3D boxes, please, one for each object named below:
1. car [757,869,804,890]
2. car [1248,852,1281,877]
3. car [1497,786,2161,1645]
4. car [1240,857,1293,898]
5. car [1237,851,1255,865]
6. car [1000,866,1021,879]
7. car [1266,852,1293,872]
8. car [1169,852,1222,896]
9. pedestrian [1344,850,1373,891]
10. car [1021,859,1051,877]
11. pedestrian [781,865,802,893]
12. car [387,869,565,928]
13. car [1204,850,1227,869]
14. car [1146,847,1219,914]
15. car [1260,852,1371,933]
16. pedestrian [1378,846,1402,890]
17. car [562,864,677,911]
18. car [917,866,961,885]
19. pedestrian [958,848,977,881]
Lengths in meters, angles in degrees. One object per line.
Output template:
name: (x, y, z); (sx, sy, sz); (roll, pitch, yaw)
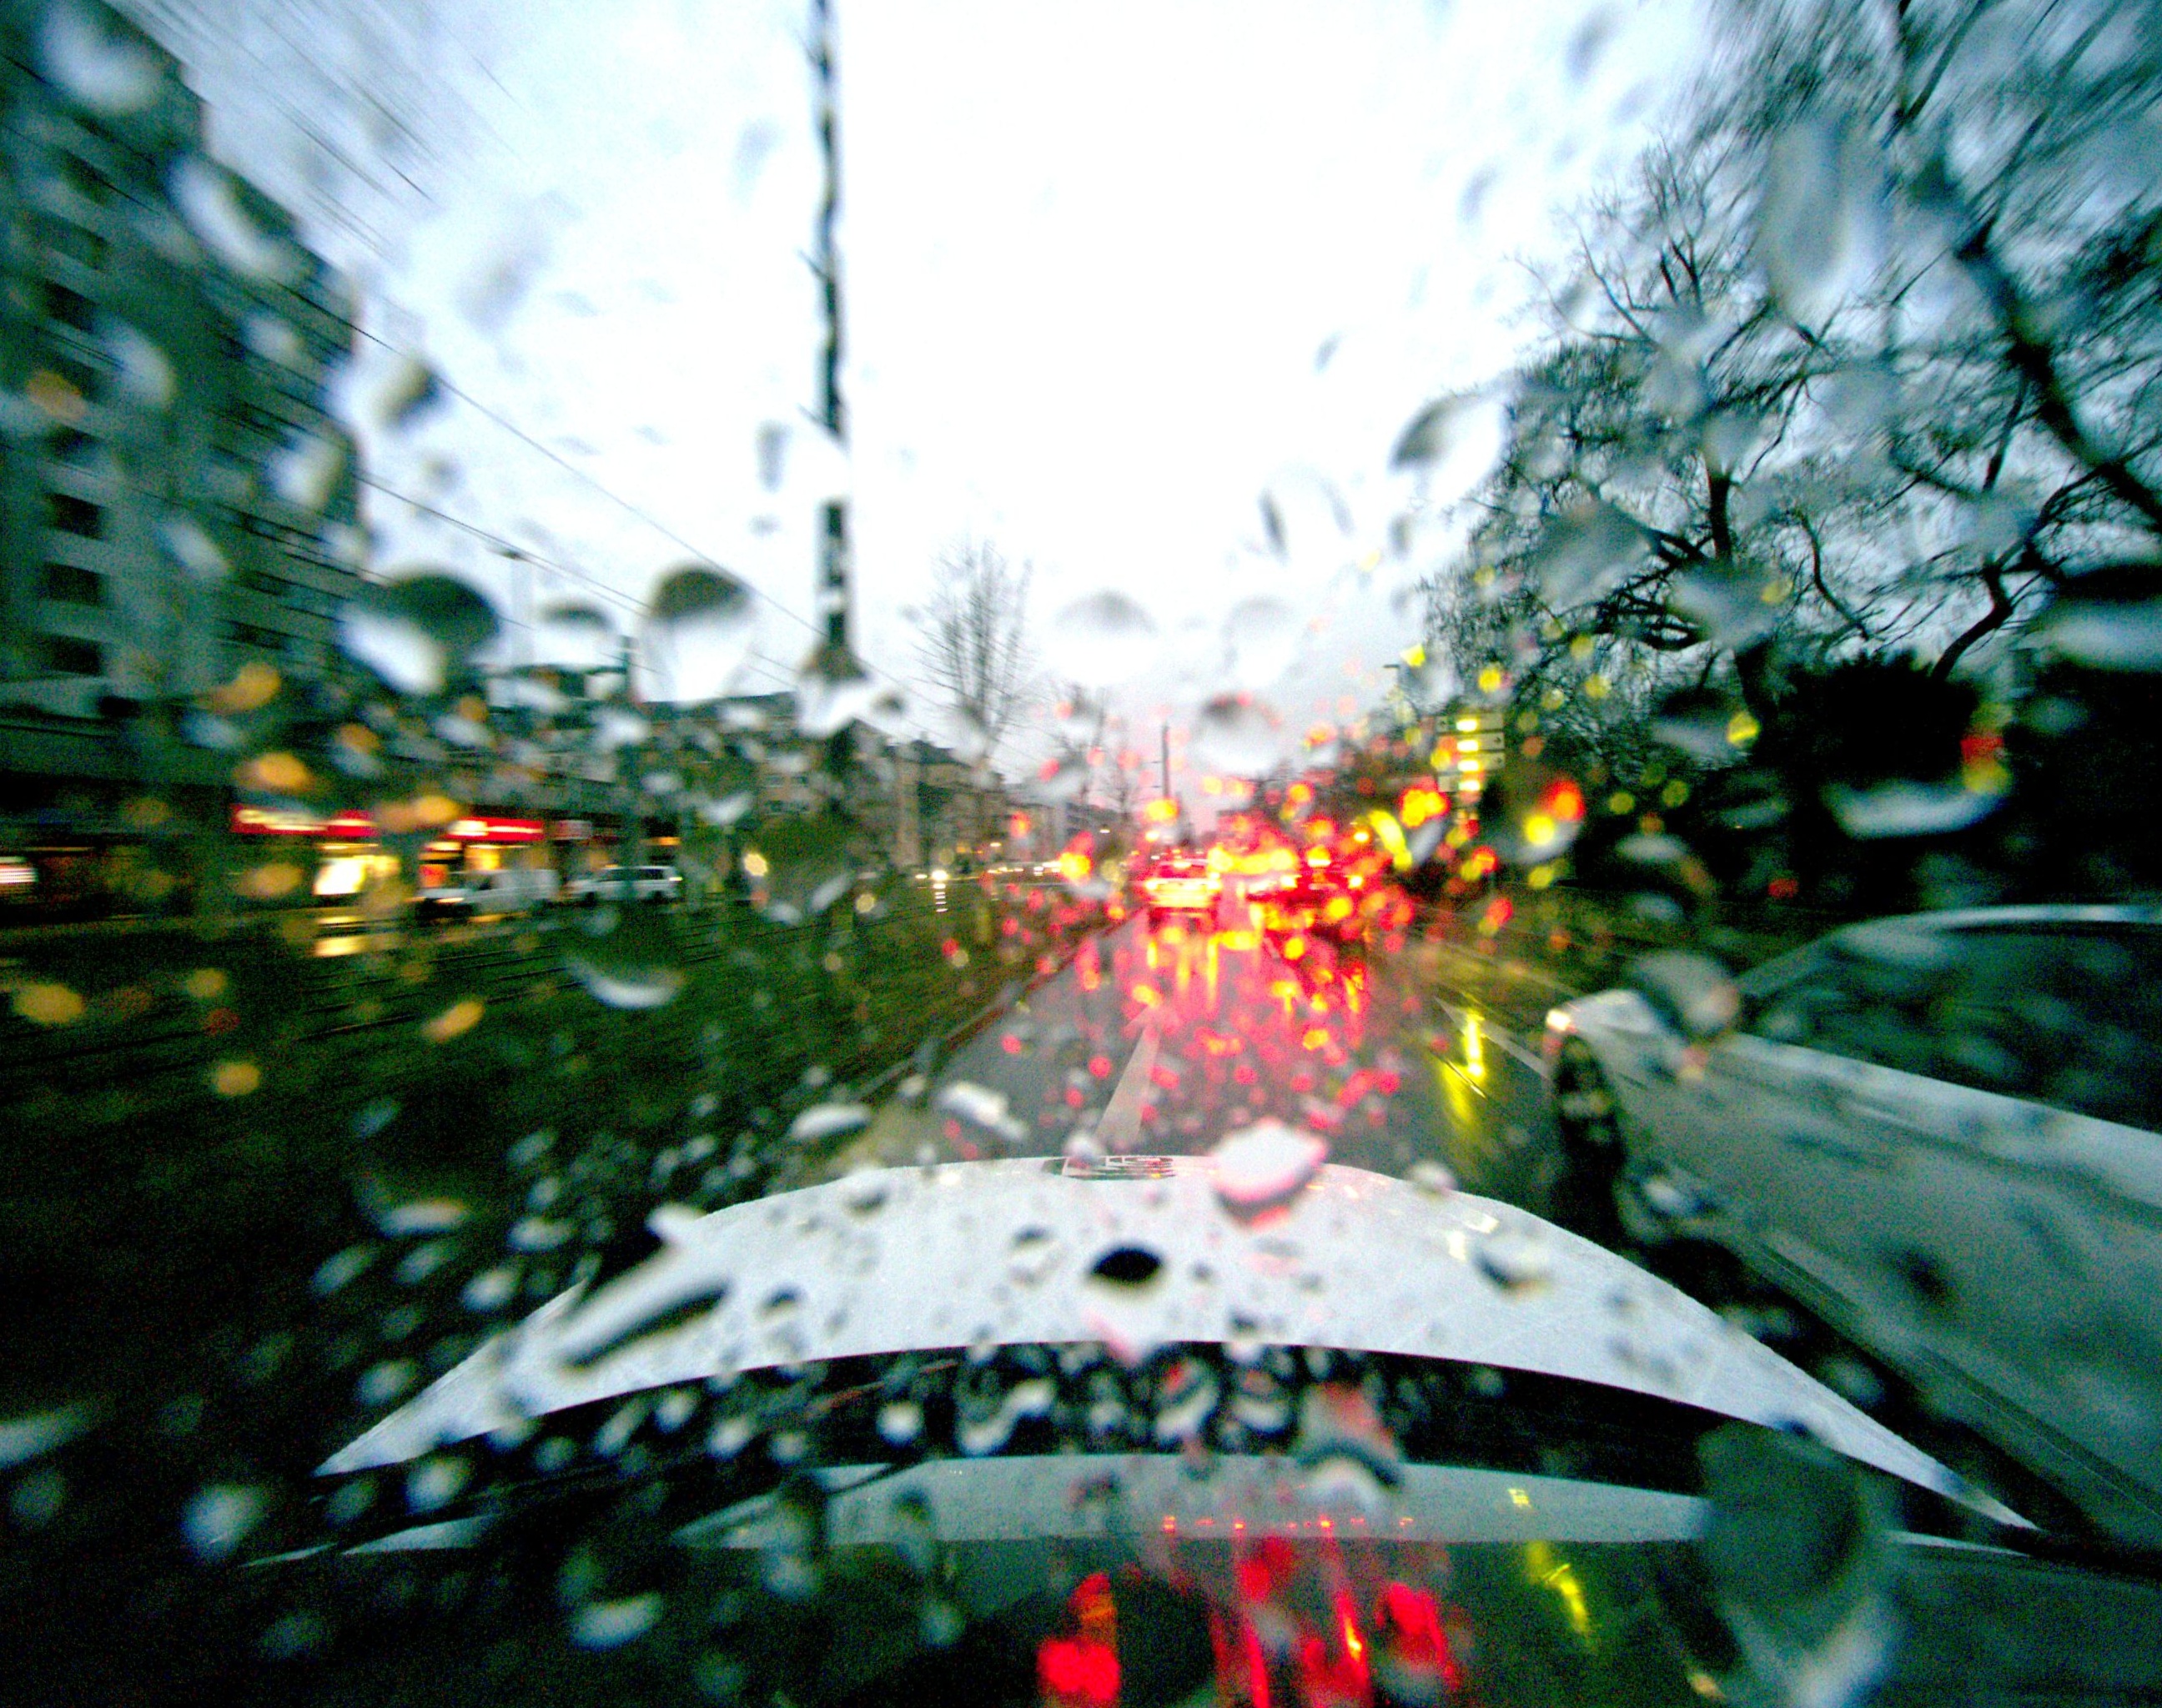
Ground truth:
car: (-28.516, 2.387, 77.315); (3.734, 1.942, 1.843); (0, -1, 1)
car: (11.014, 0.617, 49.088); (1.727, 1.419, 3.713); (-2, 0, 9)
car: (2.993, 0.631, 2.211); (1.851, 1.556, 4.951); (-2, 0, 9)
car: (6.896, 0.850, 30.551); (1.735, 1.433, 3.741); (0, -1, 10)
car: (18.129, 0.404, 89.514); (1.727, 1.419, 4.157); (-2, 0, 9)
car: (-7.706, 2.041, 89.670); (1.683, 1.277, 4.152); (-1, -1, 3)
car: (15.142, 0.590, 62.231); (1.727, 1.419, 3.713); (-2, 0, 9)
car: (4.346, 0.703, 30.536); (1.788, 1.466, 4.598); (-2, 0, 9)
pedestrian: (13.903, 0.829, 40.800); (0.960, 2.014, 1.003); (-1, -1, -13)
car: (-4.106, 1.233, 74.930); (1.982, 1.602, 4.009); (0, -1, 8)
pedestrian: (-21.203, 1.802, 59.675); (1.271, 2.014, 1.002); (-1, -1, -15)
car: (-23.598, 1.658, 32.122); (1.979, 2.046, 5.586); (0, -1, 14)
car: (10.953, 0.446, 66.340); (1.727, 1.419, 4.405); (-2, 0, 9)
car: (2.605, 0.619, 20.802); (1.684, 1.533, 4.008); (0, 0, 7)
car: (4.828, 0.742, 17.231); (1.789, 1.511, 3.905); (-1, -1, 9)
pedestrian: (14.526, 0.667, 38.314); (0.951, 2.014, 1.012); (-2, -1, 16)
car: (-23.357, 1.659, 41.301); (4.853, 2.244, 1.978); (1, -1, -37)
car: (-10.488, 1.542, 60.522); (1.848, 1.332, 4.326); (0, -1, 9)
pedestrian: (-7.210, 0.660, 51.668); (1.006, 2.014, 0.957); (-1, -1, -16)
